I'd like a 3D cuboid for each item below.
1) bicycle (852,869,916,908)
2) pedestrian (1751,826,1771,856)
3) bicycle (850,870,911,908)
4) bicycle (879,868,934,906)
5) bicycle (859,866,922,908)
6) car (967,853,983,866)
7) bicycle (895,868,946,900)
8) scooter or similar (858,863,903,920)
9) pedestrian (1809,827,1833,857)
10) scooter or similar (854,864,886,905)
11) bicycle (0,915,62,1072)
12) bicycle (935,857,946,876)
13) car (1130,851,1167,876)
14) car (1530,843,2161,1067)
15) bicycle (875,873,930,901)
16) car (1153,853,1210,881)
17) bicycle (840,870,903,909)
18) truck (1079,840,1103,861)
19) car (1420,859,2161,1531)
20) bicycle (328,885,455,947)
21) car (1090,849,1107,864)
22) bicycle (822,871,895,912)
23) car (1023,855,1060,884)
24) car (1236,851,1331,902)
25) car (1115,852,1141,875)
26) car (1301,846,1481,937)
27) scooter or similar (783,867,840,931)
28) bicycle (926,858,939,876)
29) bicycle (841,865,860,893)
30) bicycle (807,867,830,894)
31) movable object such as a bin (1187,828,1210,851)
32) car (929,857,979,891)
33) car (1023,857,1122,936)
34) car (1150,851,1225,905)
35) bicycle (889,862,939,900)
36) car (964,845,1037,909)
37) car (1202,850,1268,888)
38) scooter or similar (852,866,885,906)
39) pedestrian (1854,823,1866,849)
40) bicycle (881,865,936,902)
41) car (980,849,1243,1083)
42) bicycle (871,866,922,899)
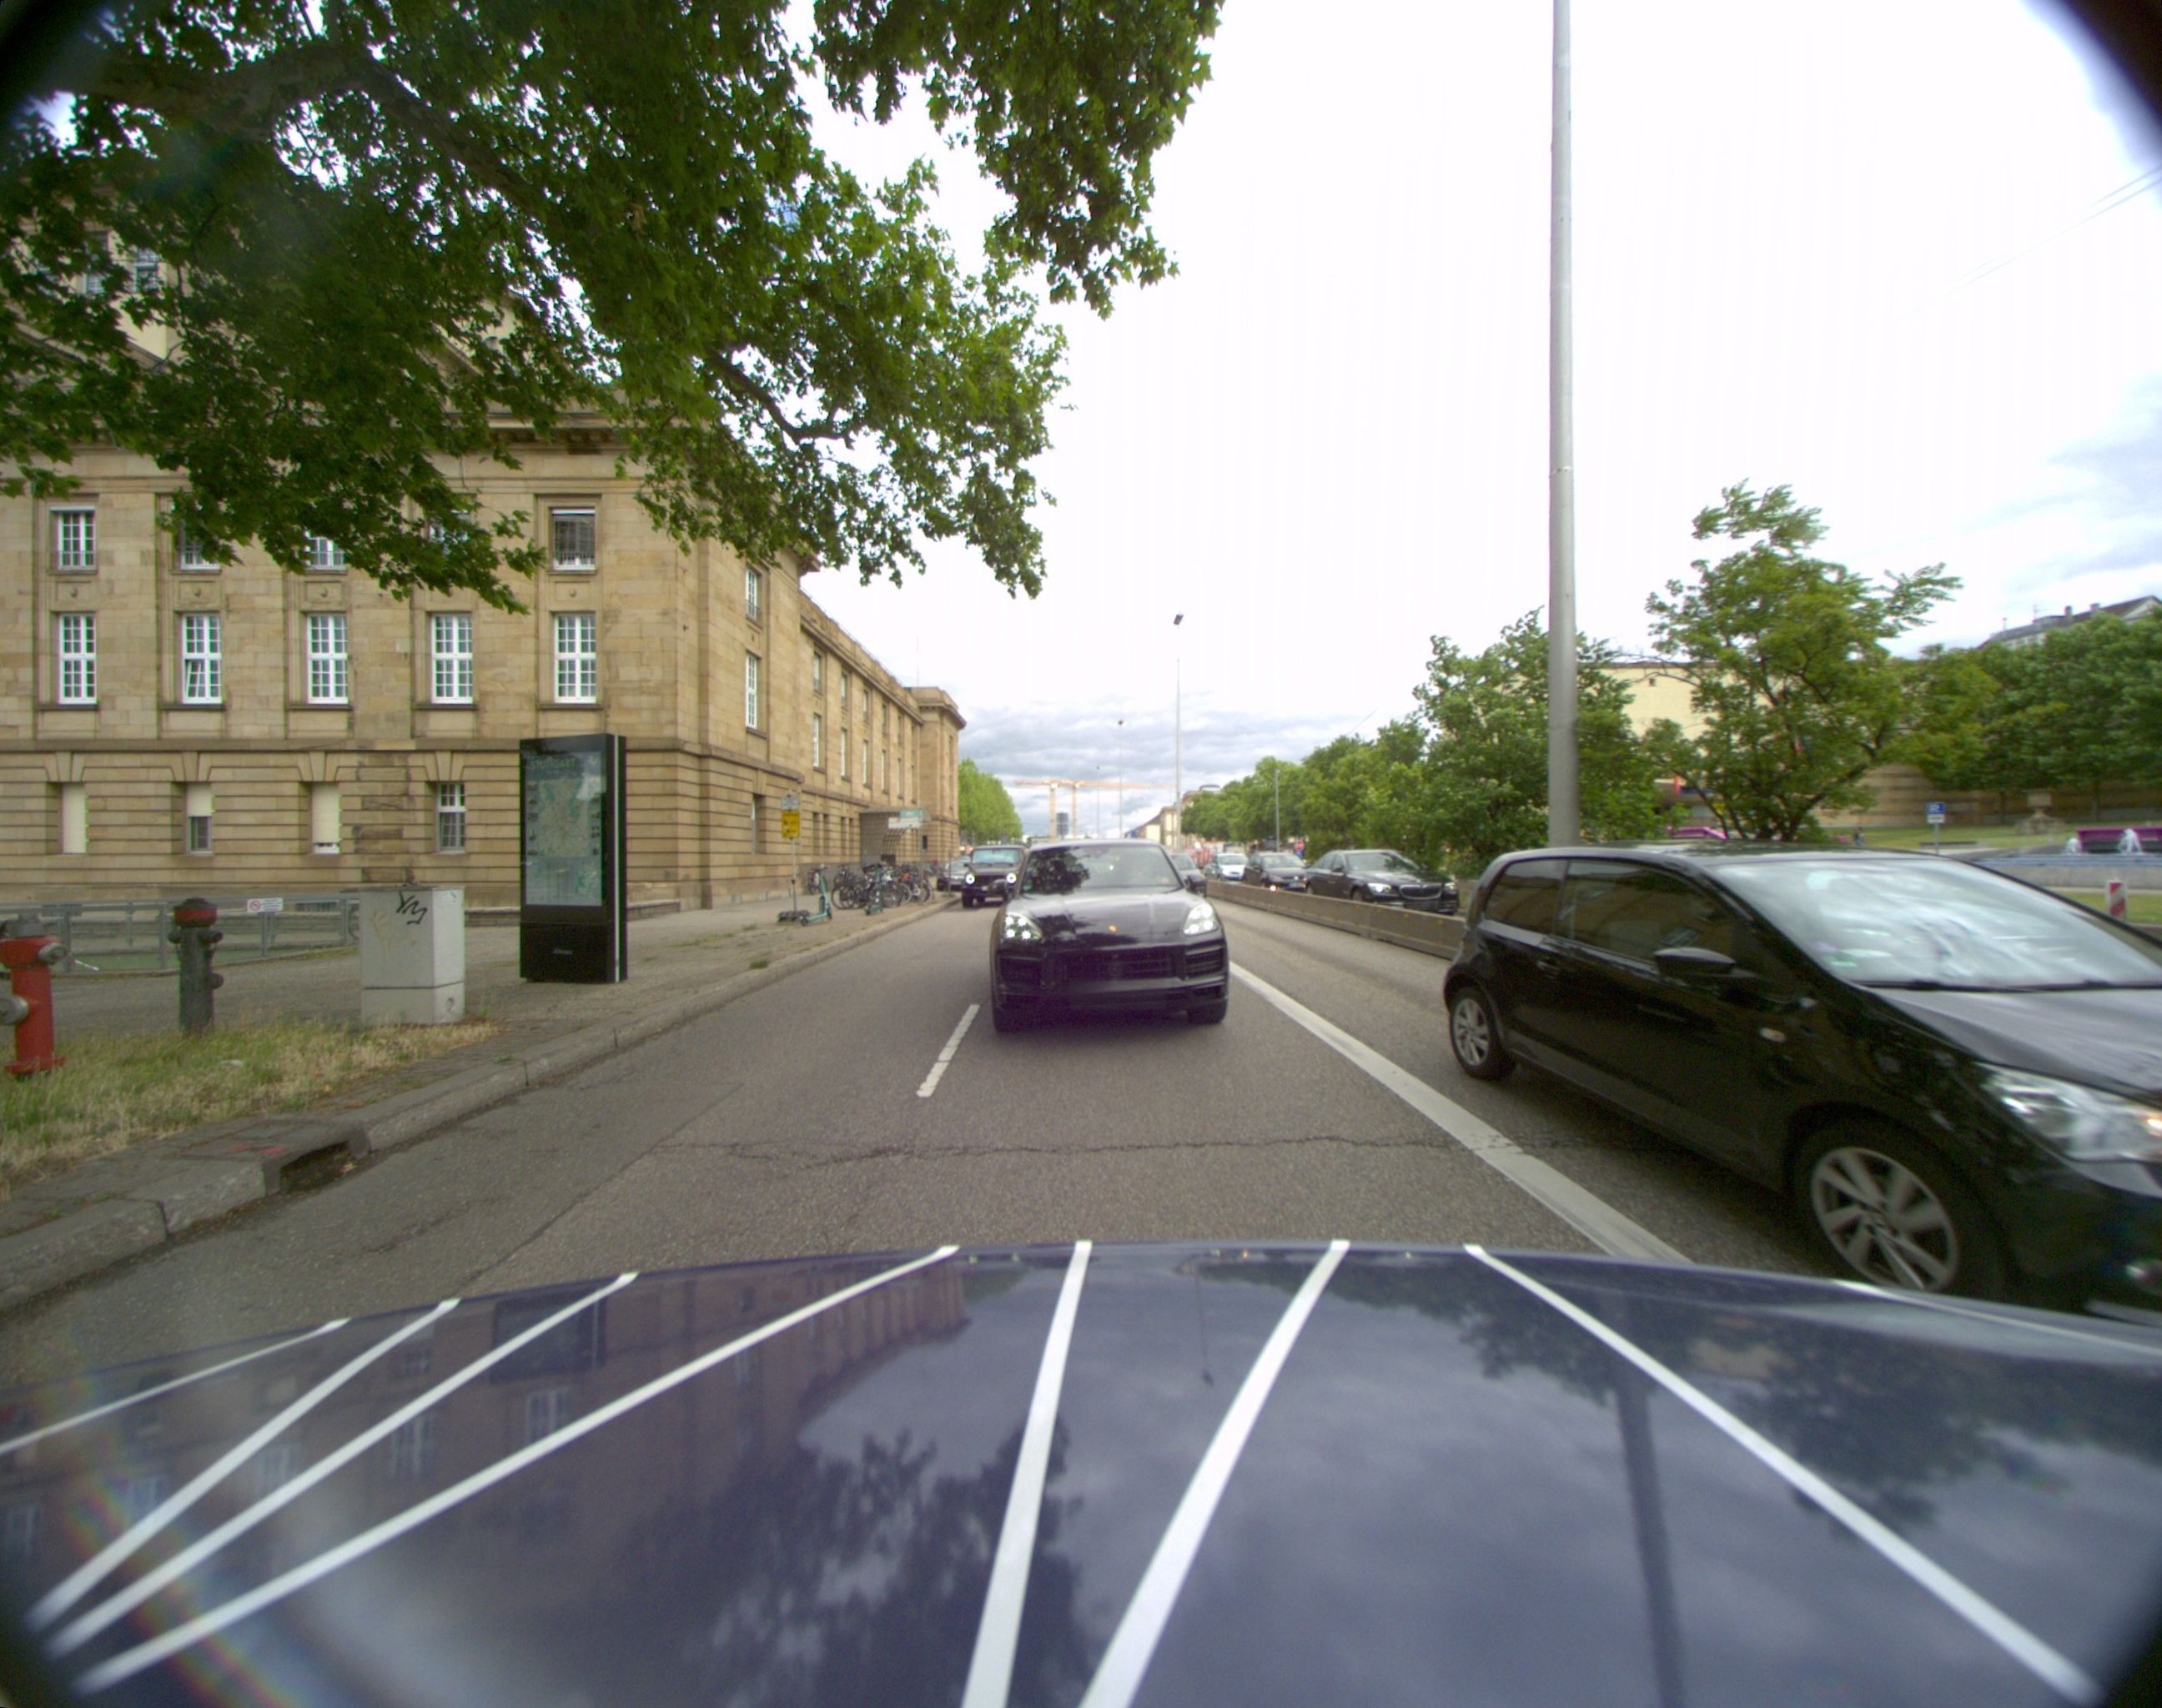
[{"bbox_3d":[-5.972,1.046,23.065,1.731,1.085,0.574,-2,1,9],"label":"bicycle"},{"bbox_3d":[43.240,-0.819,48.306,0.692,1.842,0.805,-2,1,23],"label":"pedestrian"},{"bbox_3d":[-5.977,1.045,22.645,1.731,1.085,0.381,-2,1,13],"label":"bicycle"},{"bbox_3d":[-5.656,1.049,24.626,1.616,1.123,0.469,-2,1,-26],"label":"bicycle"},{"bbox_3d":[-5.873,1.011,23.460,1.762,1.202,0.604,-2,1,-3],"label":"bicycle"},{"bbox_3d":[-12.818,0.633,91.936,1.584,1.521,3.502,-2,1,-2],"label":"car"},{"bbox_3d":[-5.591,1.040,26.454,1.664,1.068,0.586,-1,1,19],"label":"bicycle"},{"bbox_3d":[-5.076,0.926,19.278,0.727,1.324,1.413,-2,1,-1],"label":"scooter or similar"},{"bbox_3d":[46.512,-0.733,47.745,0.693,1.842,0.804,-3,1,1],"label":"pedestrian"},{"bbox_3d":[-6.857,0.992,24.739,0.563,1.271,1.148,-2,0,6],"label":"scooter or similar"},{"bbox_3d":[-9.430,1.131,6.136,1.789,1.214,0.492,-1,1,3],"label":"bicycle"},{"bbox_3d":[-10.134,0.886,54.830,0.413,1.281,1.790,-1,0,0],"label":"bicycle"},{"bbox_3d":[4.508,0.608,51.441,1.781,1.611,4.044,-2,1,-5],"label":"car"},{"bbox_3d":[6.633,0.660,7.482,1.820,1.490,4.769,-1,1,3],"label":"car"},{"bbox_3d":[-6.009,1.095,25.613,1.730,0.912,0.614,-1,1,19],"label":"bicycle"},{"bbox_3d":[5.709,0.693,43.699,1.884,1.473,4.700,-2,0,-10],"label":"car"},{"bbox_3d":[-6.123,1.043,22.175,1.731,1.085,0.426,-2,1,13],"label":"bicycle"},{"bbox_3d":[1.295,-0.448,102.466,2.978,2.757,7.254,0,0,-1],"label":"truck"},{"bbox_3d":[3.197,0.783,3.456,1.612,1.464,3.621,-1,0,-2],"label":"car"},{"bbox_3d":[-13.186,1.173,14.547,2.016,1.119,0.389,-1,1,0],"label":"bicycle"},{"bbox_3d":[2.099,0.311,92.246,1.843,1.751,4.479,0,0,-2],"label":"car"},{"bbox_3d":[-6.303,1.061,21.545,1.860,1.085,0.666,-2,1,13],"label":"bicycle"},{"bbox_3d":[-2.124,0.818,41.547,1.930,1.501,3.999,-1,0,-2],"label":"car"},{"bbox_3d":[6.416,0.661,24.577,1.664,1.446,4.196,-2,0,-4],"label":"car"},{"bbox_3d":[3.640,0.708,59.615,1.731,1.611,3.944,-2,1,-1],"label":"car"},{"bbox_3d":[6.436,0.671,16.481,1.928,1.626,4.936,-2,0,1],"label":"car"},{"bbox_3d":[-5.855,0.960,16.571,0.432,1.273,1.435,-2,1,11],"label":"scooter or similar"},{"bbox_3d":[-10.402,0.882,53.255,0.557,1.210,1.915,-1,0,0],"label":"bicycle"},{"bbox_3d":[-10.436,1.130,34.469,0.276,1.176,1.538,-2,1,2],"label":"bicycle"},{"bbox_3d":[-10.382,1.039,30.065,0.241,0.992,1.962,-1,1,0],"label":"bicycle"},{"bbox_3d":[11.515,-1.404,74.810,1.526,2.172,3.291,-1,0,-5],"label":"movable object such as a bin"},{"bbox_3d":[-5.909,0.897,35.726,1.793,1.477,4.325,0,0,-2],"label":"car"},{"bbox_3d":[-0.194,0.842,16.872,1.930,1.501,3.999,-1,0,-1],"label":"car"},{"bbox_3d":[3.243,0.693,23.908,1.690,1.496,3.999,-1,1,-1],"label":"car"},{"bbox_3d":[-5.722,0.921,26.048,1.544,1.249,0.544,-2,1,19],"label":"bicycle"},{"bbox_3d":[-2.574,0.691,25.316,1.952,1.914,4.399,-1,0,0],"label":"car"},{"bbox_3d":[6.493,0.582,32.440,1.677,1.498,3.852,-2,1,-5],"label":"car"},{"bbox_3d":[-6.877,1.016,24.644,0.426,1.217,1.313,-2,1,10],"label":"scooter or similar"},{"bbox_3d":[49.926,-1.158,48.687,0.348,1.602,0.405,-3,1,1],"label":"pedestrian"},{"bbox_3d":[-5.553,0.935,24.479,1.616,1.123,0.407,-2,1,-26],"label":"bicycle"},{"bbox_3d":[0.031,0.790,7.594,1.909,1.648,4.198,-1,0,-6],"label":"car"},{"bbox_3d":[-6.182,0.959,25.474,1.565,1.022,0.436,-2,1,11],"label":"bicycle"}]
